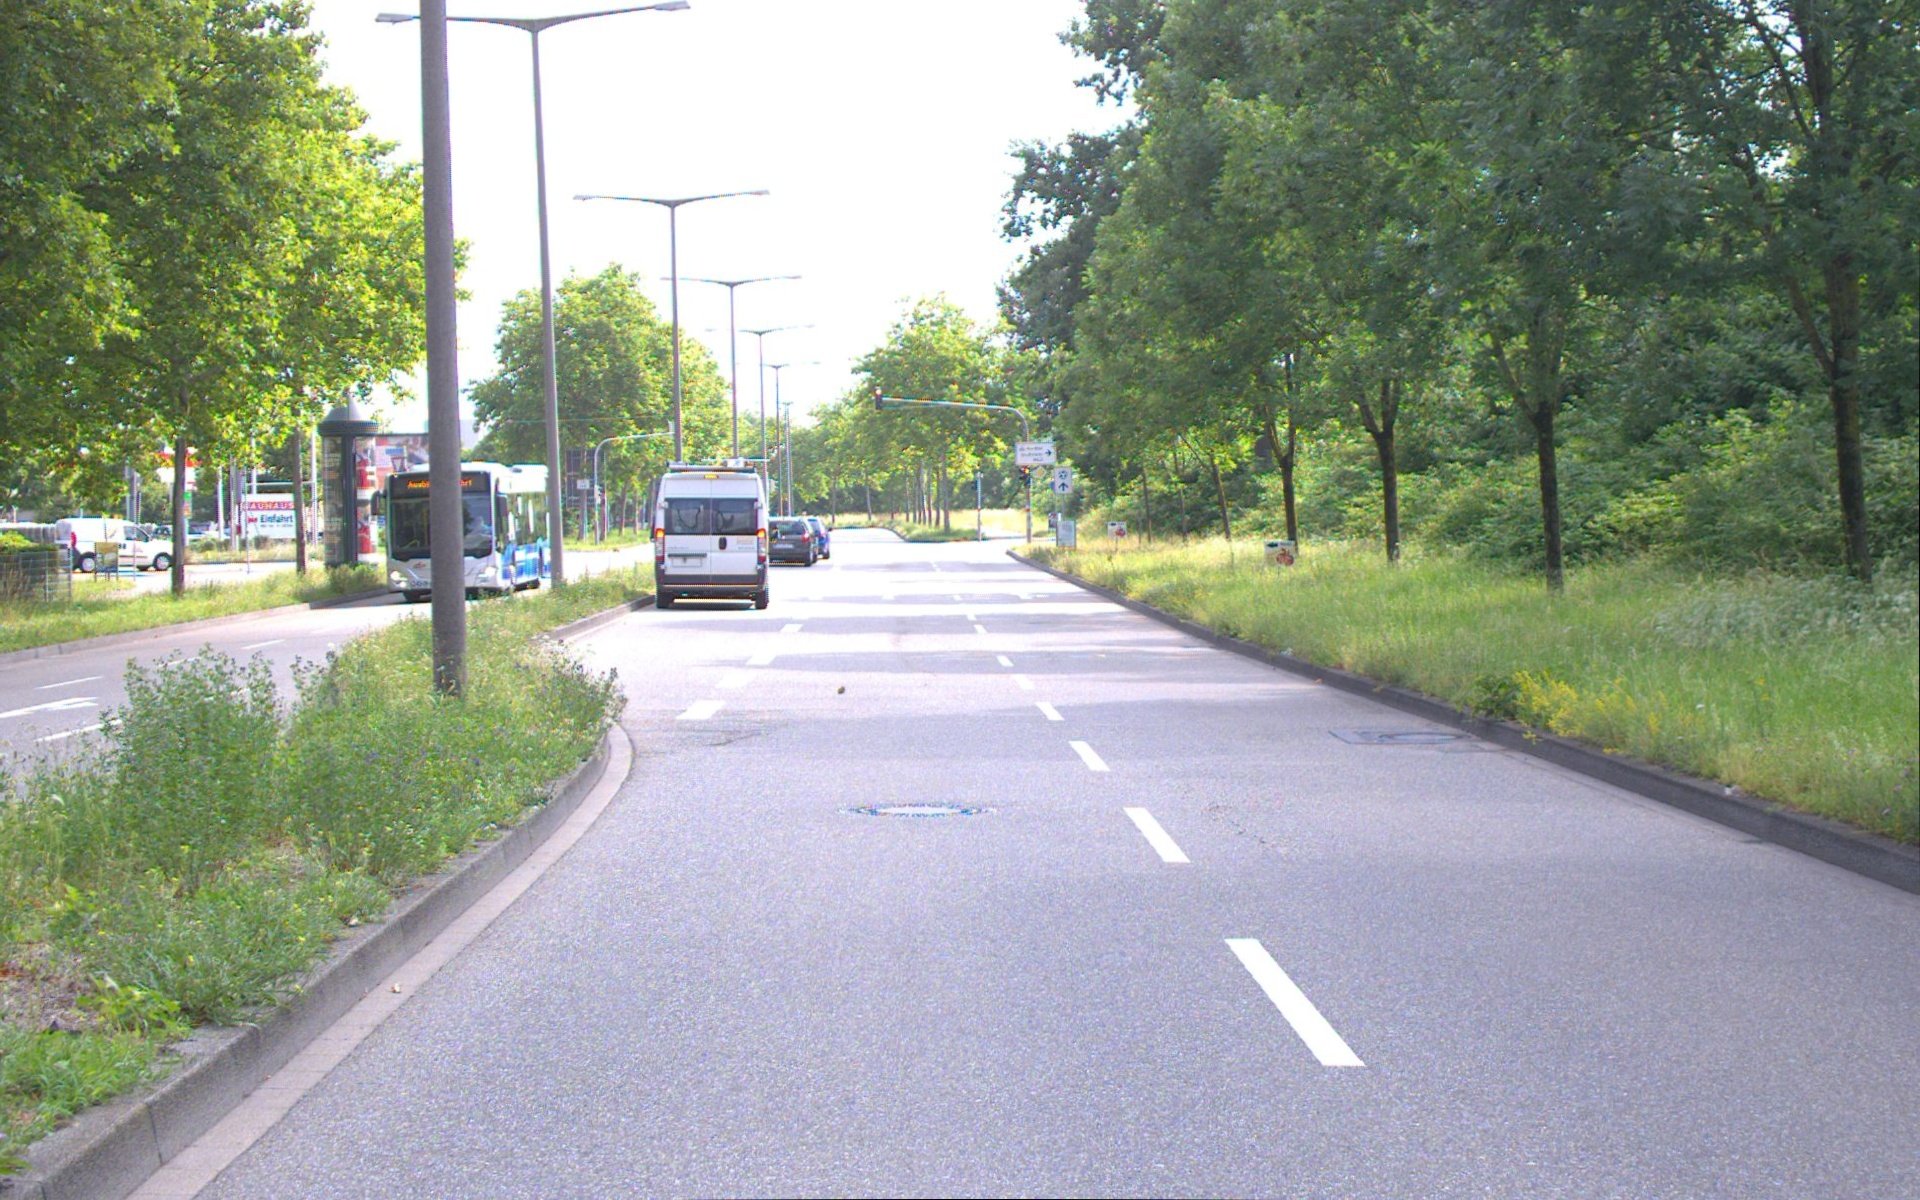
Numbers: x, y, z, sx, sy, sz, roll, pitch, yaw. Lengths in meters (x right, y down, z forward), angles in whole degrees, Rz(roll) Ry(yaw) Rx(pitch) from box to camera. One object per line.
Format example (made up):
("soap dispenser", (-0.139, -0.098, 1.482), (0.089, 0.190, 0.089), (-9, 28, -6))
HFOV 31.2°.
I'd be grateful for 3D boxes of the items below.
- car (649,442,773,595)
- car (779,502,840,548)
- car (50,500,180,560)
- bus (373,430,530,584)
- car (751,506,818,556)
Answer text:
("car", (-4.609, -1.494, 63.751), (2.197, 2.717, 4.932), (0, 1, -4))
("car", (-5.168, -2.555, 117.565), (1.806, 1.465, 3.857), (-1, 1, -6))
("car", (-29.408, -2.409, 119.716), (3.988, 1.832, 1.864), (2, -3, -40))
("bus", (-11.923, -2.069, 81.595), (3.109, 3.263, 12.340), (-2, 0, -6))
("car", (-5.404, -2.099, 105.692), (1.806, 1.465, 3.857), (-1, 1, -6))
